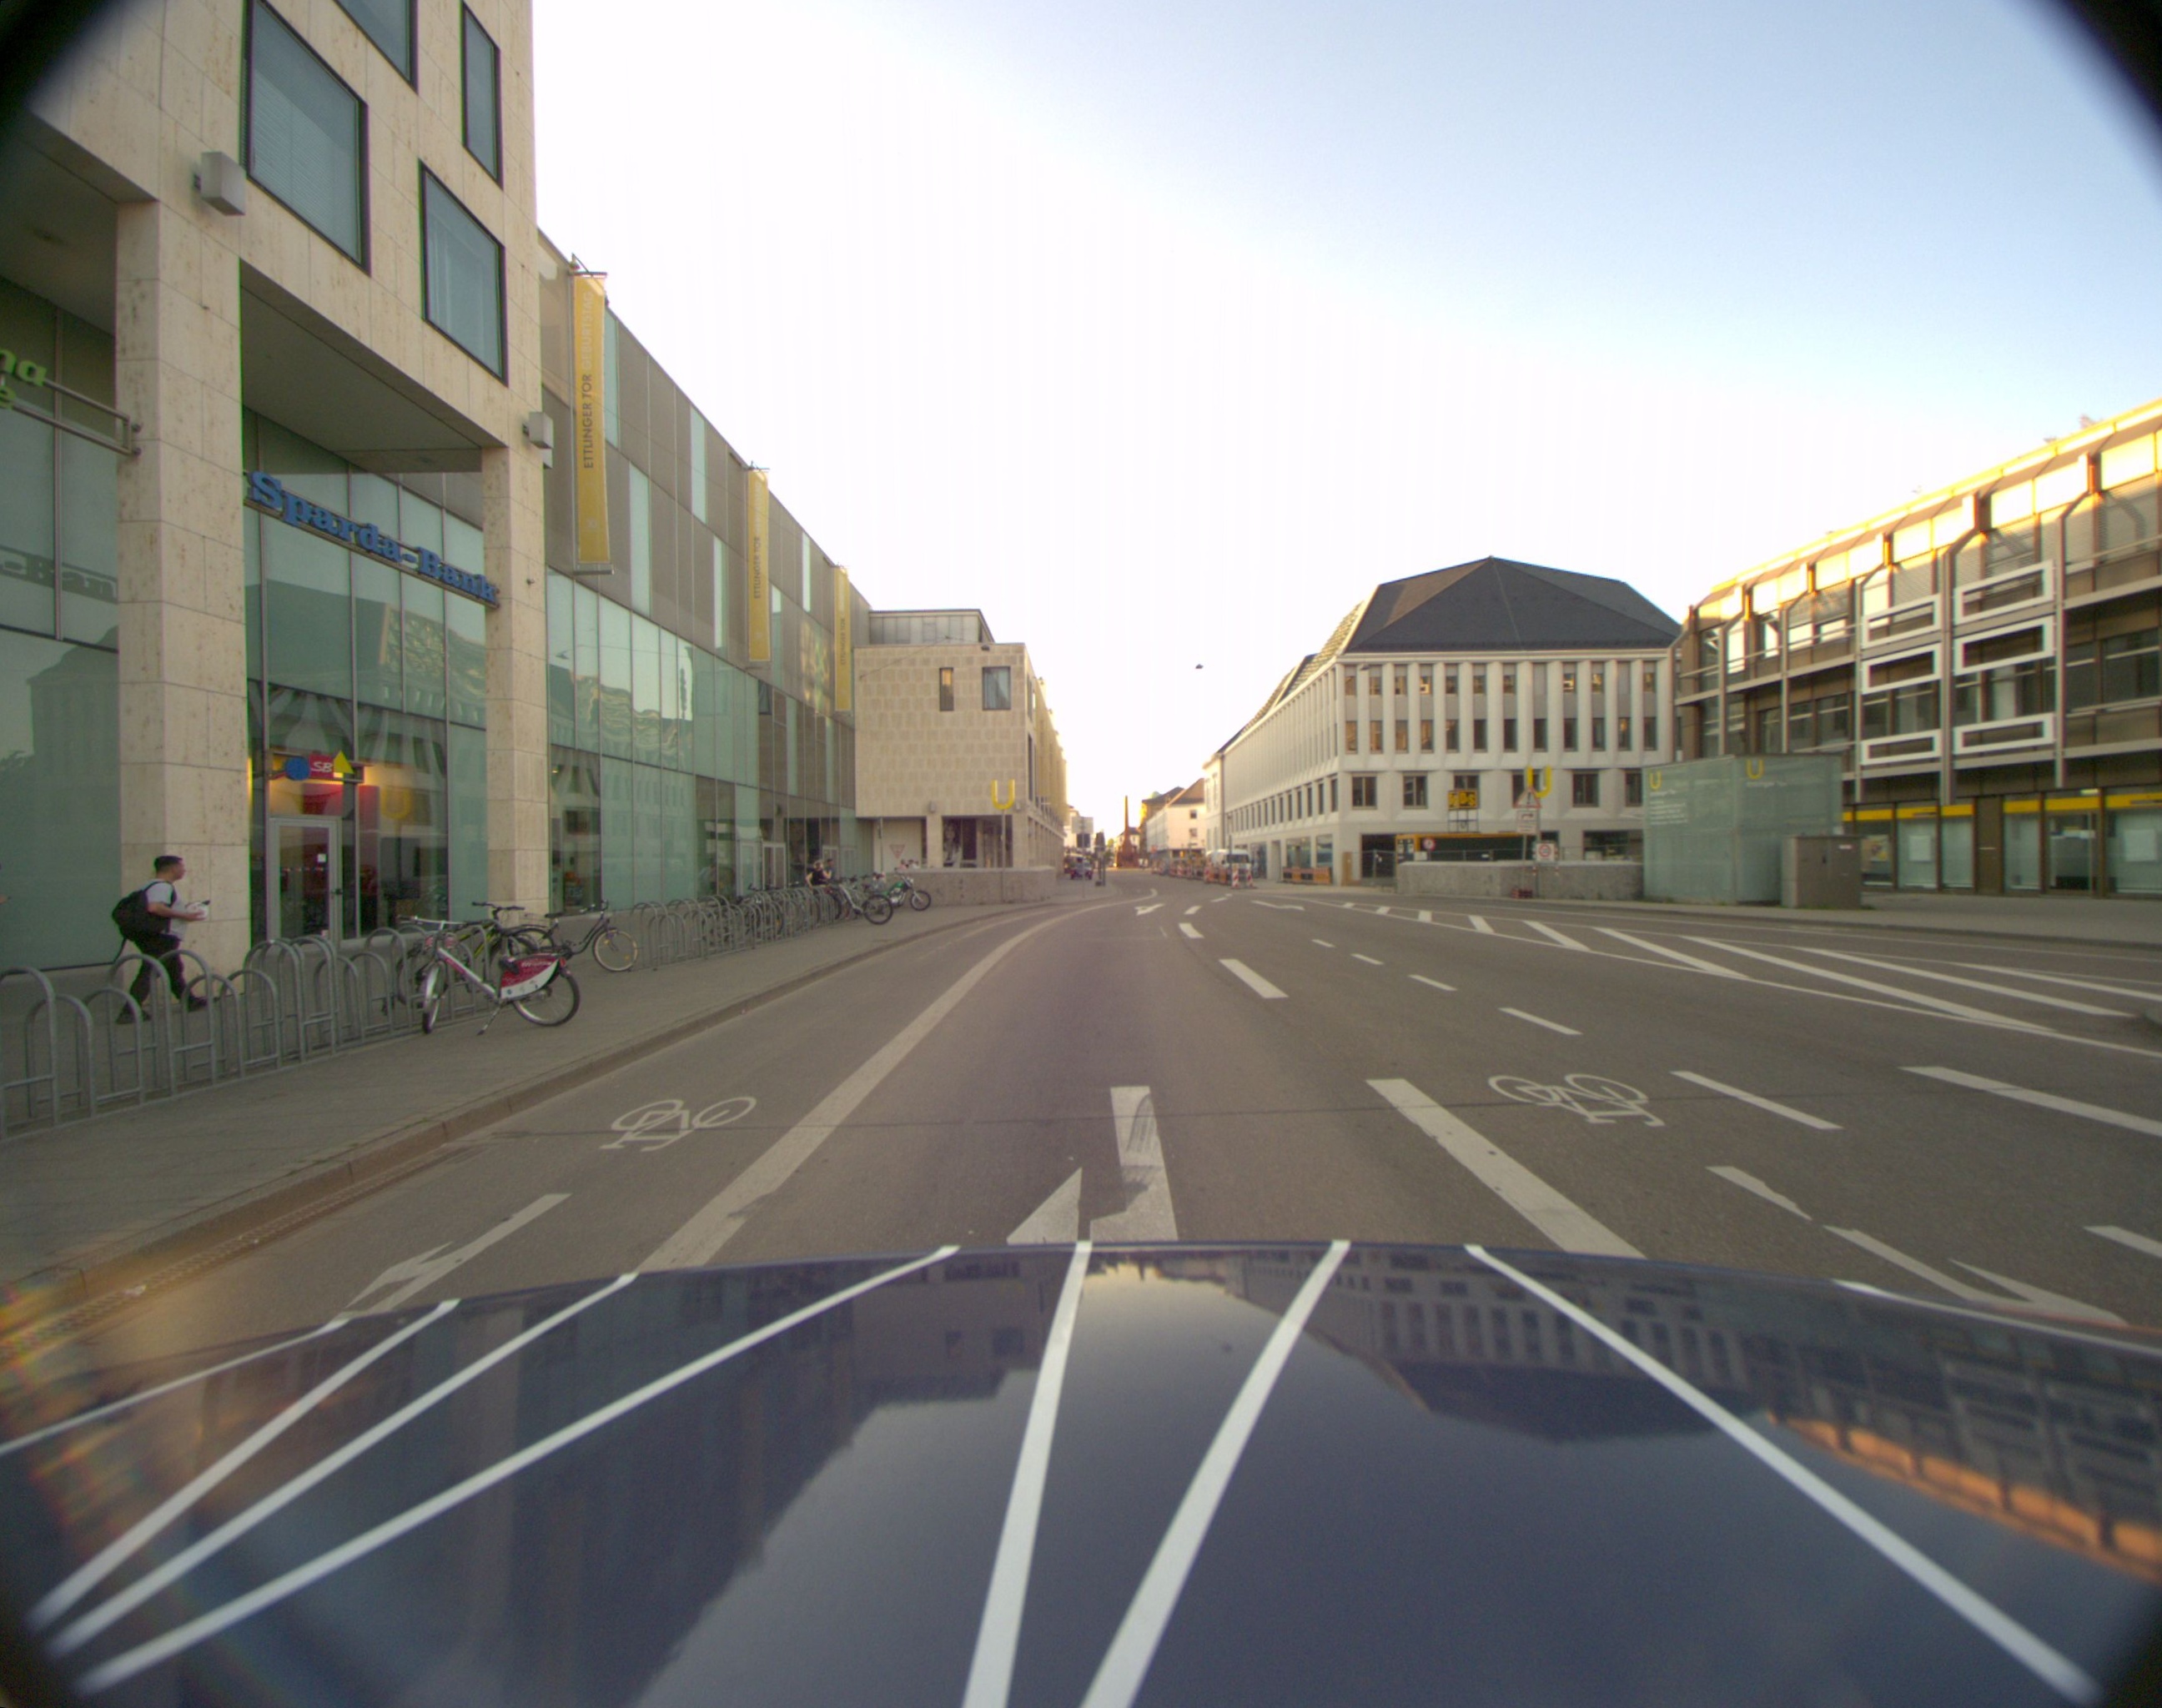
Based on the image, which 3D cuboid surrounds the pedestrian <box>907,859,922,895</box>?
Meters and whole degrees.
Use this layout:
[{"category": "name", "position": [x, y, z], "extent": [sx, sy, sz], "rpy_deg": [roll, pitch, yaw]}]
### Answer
[{"category": "pedestrian", "position": [-8.022, 1.110, 36.599], "extent": [0.494, 1.733, 0.657], "rpy_deg": [-1, 0, 3]}]

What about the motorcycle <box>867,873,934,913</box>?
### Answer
[{"category": "motorcycle", "position": [-5.712, 1.239, 24.084], "extent": [2.007, 1.217, 0.480], "rpy_deg": [-1, 0, -2]}]

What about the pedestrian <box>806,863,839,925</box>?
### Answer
[{"category": "pedestrian", "position": [-7.032, 1.075, 20.688], "extent": [0.809, 1.633, 0.646], "rpy_deg": [-1, 0, -18]}]

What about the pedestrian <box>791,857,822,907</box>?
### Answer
[{"category": "pedestrian", "position": [-9.277, 0.928, 25.670], "extent": [0.822, 1.638, 0.739], "rpy_deg": [-1, 0, -31]}]

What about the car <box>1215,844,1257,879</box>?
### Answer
[{"category": "car", "position": [11.984, 0.588, 59.162], "extent": [2.141, 2.540, 6.050], "rpy_deg": [-1, 0, 1]}]

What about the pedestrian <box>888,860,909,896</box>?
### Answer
[{"category": "pedestrian", "position": [-8.731, 1.137, 36.354], "extent": [0.793, 1.733, 0.657], "rpy_deg": [-1, 0, 3]}]

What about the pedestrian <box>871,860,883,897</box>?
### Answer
[{"category": "pedestrian", "position": [-9.646, 1.148, 35.933], "extent": [0.364, 1.733, 0.452], "rpy_deg": [-1, 0, 3]}]

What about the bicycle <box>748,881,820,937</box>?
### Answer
[{"category": "bicycle", "position": [-6.661, 1.236, 17.077], "extent": [1.345, 1.157, 0.518], "rpy_deg": [-3, 0, -1]}]

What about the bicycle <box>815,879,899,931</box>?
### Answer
[{"category": "bicycle", "position": [-5.391, 1.217, 18.319], "extent": [1.838, 1.140, 0.466], "rpy_deg": [-3, 0, 1]}]

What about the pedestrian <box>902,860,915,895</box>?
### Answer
[{"category": "pedestrian", "position": [-8.508, 1.163, 37.441], "extent": [0.494, 1.733, 0.549], "rpy_deg": [-1, 0, 3]}]

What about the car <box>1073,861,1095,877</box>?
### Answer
[{"category": "car", "position": [0.334, 1.292, 67.828], "extent": [1.798, 1.365, 3.671], "rpy_deg": [-1, 0, 2]}]

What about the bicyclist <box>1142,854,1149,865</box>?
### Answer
[{"category": "bicyclist", "position": [9.190, 0.810, 108.023], "extent": [0.976, 1.544, 0.974], "rpy_deg": [-1, 0, 4]}]

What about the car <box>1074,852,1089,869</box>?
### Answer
[{"category": "car", "position": [0.034, 0.902, 100.313], "extent": [1.798, 2.198, 3.671], "rpy_deg": [-1, 0, 2]}]

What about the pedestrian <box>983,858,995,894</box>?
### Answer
[{"category": "pedestrian", "position": [-4.415, 1.039, 36.495], "extent": [0.454, 1.733, 0.493], "rpy_deg": [-1, 0, 3]}]

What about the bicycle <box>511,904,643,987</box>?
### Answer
[{"category": "bicycle", "position": [-7.304, 1.313, 11.072], "extent": [1.447, 1.058, 0.580], "rpy_deg": [-3, 0, -10]}]

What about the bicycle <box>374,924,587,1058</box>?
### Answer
[{"category": "bicycle", "position": [-5.400, 1.218, 6.866], "extent": [1.518, 1.057, 0.466], "rpy_deg": [-3, 0, 1]}]

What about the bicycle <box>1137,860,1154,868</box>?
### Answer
[{"category": "bicycle", "position": [9.173, 1.411, 108.041], "extent": [2.372, 1.052, 0.729], "rpy_deg": [-1, 0, 4]}]

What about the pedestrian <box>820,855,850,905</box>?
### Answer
[{"category": "pedestrian", "position": [-8.397, 0.875, 25.949], "extent": [0.821, 1.686, 0.697], "rpy_deg": [-1, 0, -30]}]

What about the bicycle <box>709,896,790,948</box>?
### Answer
[{"category": "bicycle", "position": [-6.598, 1.351, 15.148], "extent": [1.345, 0.927, 0.518], "rpy_deg": [-3, 0, -1]}]

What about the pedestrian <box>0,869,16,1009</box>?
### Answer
[{"category": "pedestrian", "position": [-12.999, 0.997, 8.691], "extent": [0.629, 1.642, 0.708], "rpy_deg": [-1, 0, 2]}]

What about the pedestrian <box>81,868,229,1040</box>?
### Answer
[{"category": "pedestrian", "position": [-9.511, 0.992, 7.836], "extent": [0.629, 1.682, 0.708], "rpy_deg": [-1, 0, -1]}]

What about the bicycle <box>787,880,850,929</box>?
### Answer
[{"category": "bicycle", "position": [-6.605, 1.263, 19.162], "extent": [1.345, 1.157, 0.518], "rpy_deg": [-3, 0, -1]}]

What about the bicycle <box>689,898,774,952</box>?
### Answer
[{"category": "bicycle", "position": [-6.656, 1.342, 14.502], "extent": [1.345, 0.927, 0.518], "rpy_deg": [-3, 0, -1]}]

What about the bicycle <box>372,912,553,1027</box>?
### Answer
[{"category": "bicycle", "position": [-6.800, 1.257, 8.391], "extent": [1.518, 1.117, 0.581], "rpy_deg": [-3, 0, 4]}]
